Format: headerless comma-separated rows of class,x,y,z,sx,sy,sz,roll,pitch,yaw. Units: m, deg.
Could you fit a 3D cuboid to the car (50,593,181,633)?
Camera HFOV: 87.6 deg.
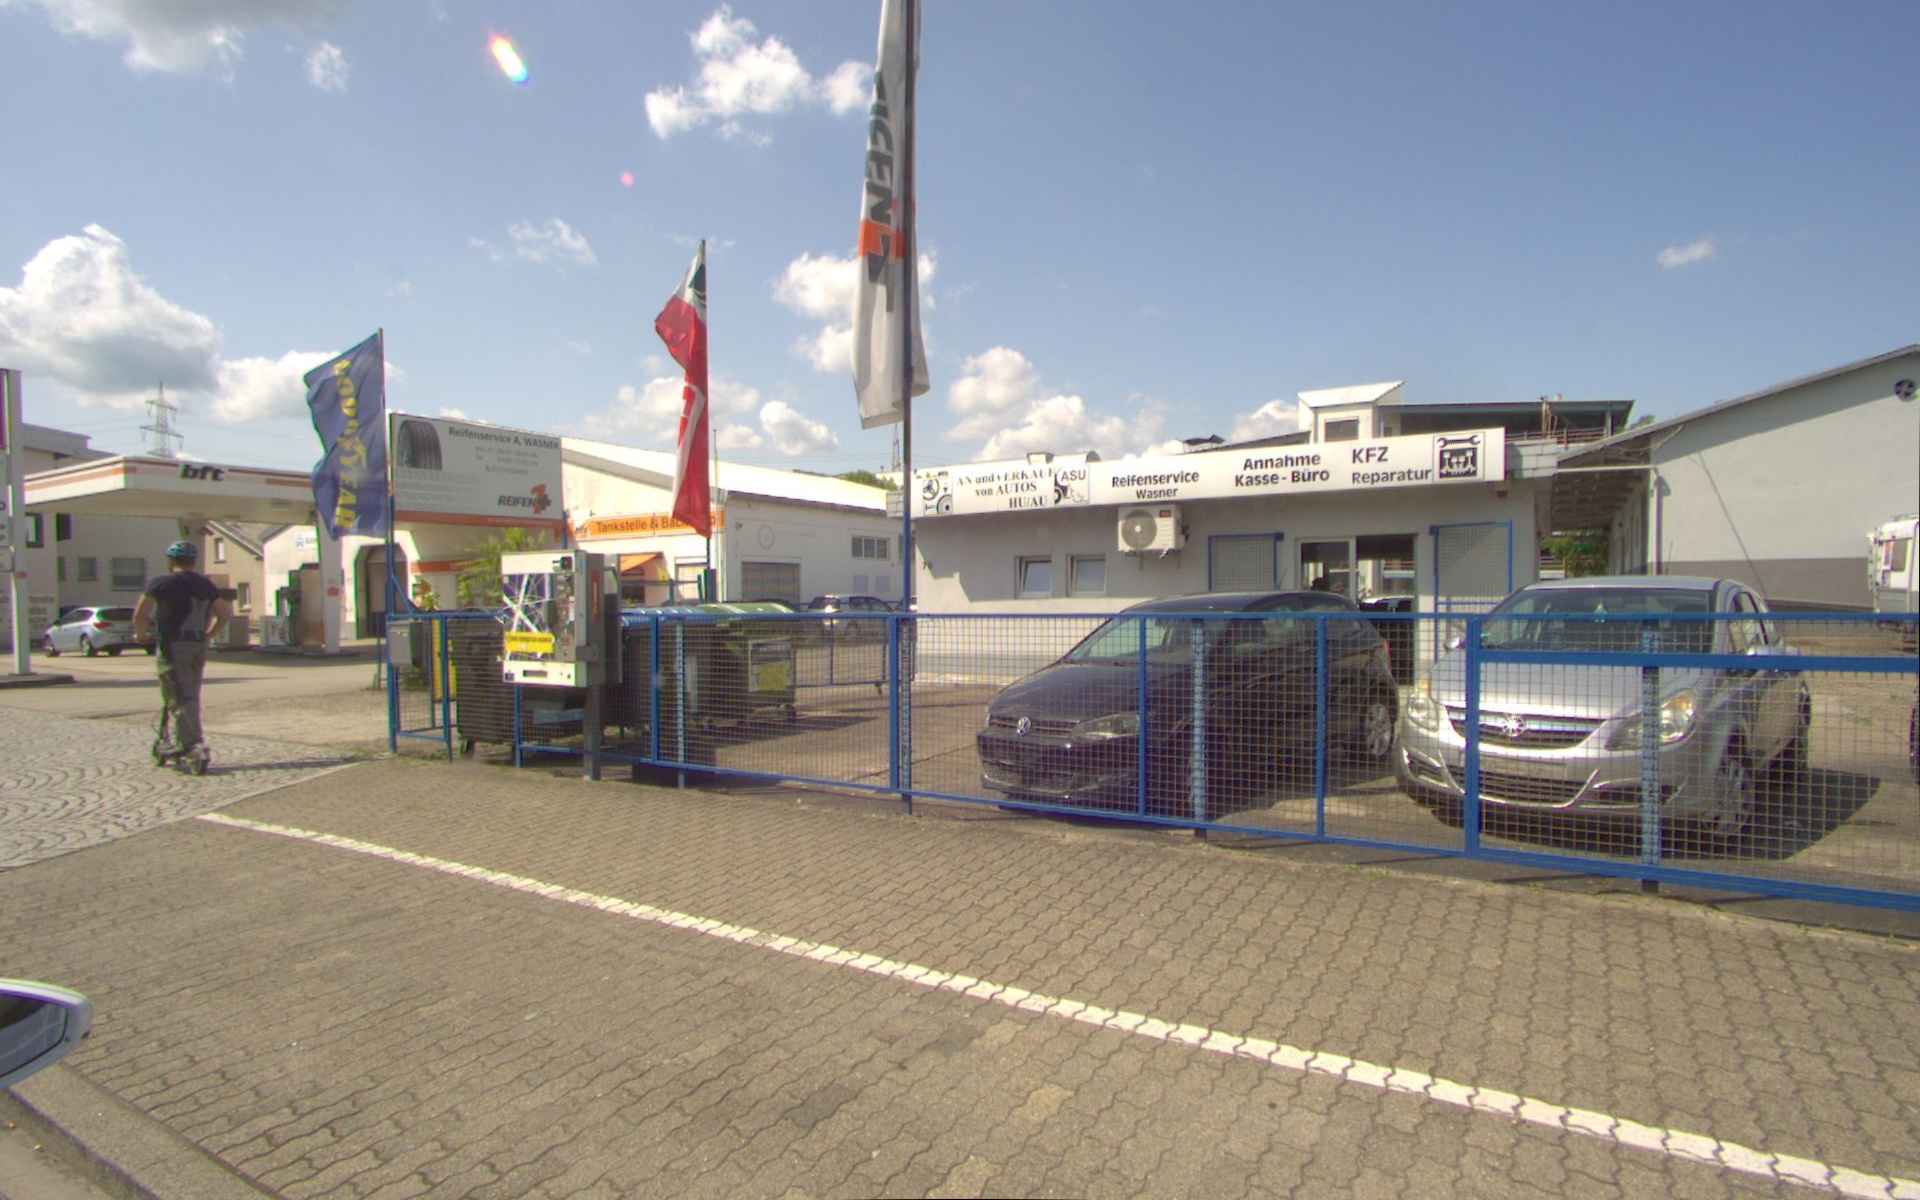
car,-37.273,0.549,44.284,1.937,1.671,3.979,-1,1,31

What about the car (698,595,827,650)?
car,-5.464,0.588,28.066,1.589,1.379,3.488,-1,1,32

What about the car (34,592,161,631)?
car,-39.327,0.504,45.736,1.937,1.671,3.979,-1,1,31

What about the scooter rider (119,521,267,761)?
scooter rider,-6.719,0.339,8.785,0.774,1.990,0.715,-1,3,32

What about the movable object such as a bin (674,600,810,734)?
movable object such as a bin,-2.561,0.757,11.880,0.939,1.463,1.320,-1,1,25

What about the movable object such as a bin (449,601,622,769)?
movable object such as a bin,-4.054,0.764,9.631,0.812,1.463,1.253,-1,1,32

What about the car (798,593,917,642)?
car,-3.198,0.529,31.981,1.589,1.406,3.998,-1,1,33

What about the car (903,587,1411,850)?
car,1.656,0.659,7.564,3.956,1.462,1.696,-1,0,-41

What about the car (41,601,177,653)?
car,-25.965,0.810,30.544,3.941,1.439,1.956,-1,1,30

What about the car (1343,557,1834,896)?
car,4.235,0.552,6.462,3.958,1.516,1.734,-1,0,-43

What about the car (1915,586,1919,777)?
car,6.552,0.594,5.373,1.799,1.374,3.968,-1,0,40

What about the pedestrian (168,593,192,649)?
pedestrian,-23.887,0.634,30.678,0.478,1.711,0.395,0,2,33

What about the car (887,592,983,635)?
car,-0.848,0.463,35.622,1.589,1.406,3.652,-1,1,33

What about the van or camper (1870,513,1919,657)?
van or camper,21.287,-0.350,19.400,4.986,2.810,2.304,-1,1,29

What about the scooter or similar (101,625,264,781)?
scooter or similar,-6.678,0.840,8.584,1.588,1.211,0.539,-1,2,32

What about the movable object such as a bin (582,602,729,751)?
movable object such as a bin,-3.238,0.768,10.740,0.812,1.463,1.253,-1,1,32
